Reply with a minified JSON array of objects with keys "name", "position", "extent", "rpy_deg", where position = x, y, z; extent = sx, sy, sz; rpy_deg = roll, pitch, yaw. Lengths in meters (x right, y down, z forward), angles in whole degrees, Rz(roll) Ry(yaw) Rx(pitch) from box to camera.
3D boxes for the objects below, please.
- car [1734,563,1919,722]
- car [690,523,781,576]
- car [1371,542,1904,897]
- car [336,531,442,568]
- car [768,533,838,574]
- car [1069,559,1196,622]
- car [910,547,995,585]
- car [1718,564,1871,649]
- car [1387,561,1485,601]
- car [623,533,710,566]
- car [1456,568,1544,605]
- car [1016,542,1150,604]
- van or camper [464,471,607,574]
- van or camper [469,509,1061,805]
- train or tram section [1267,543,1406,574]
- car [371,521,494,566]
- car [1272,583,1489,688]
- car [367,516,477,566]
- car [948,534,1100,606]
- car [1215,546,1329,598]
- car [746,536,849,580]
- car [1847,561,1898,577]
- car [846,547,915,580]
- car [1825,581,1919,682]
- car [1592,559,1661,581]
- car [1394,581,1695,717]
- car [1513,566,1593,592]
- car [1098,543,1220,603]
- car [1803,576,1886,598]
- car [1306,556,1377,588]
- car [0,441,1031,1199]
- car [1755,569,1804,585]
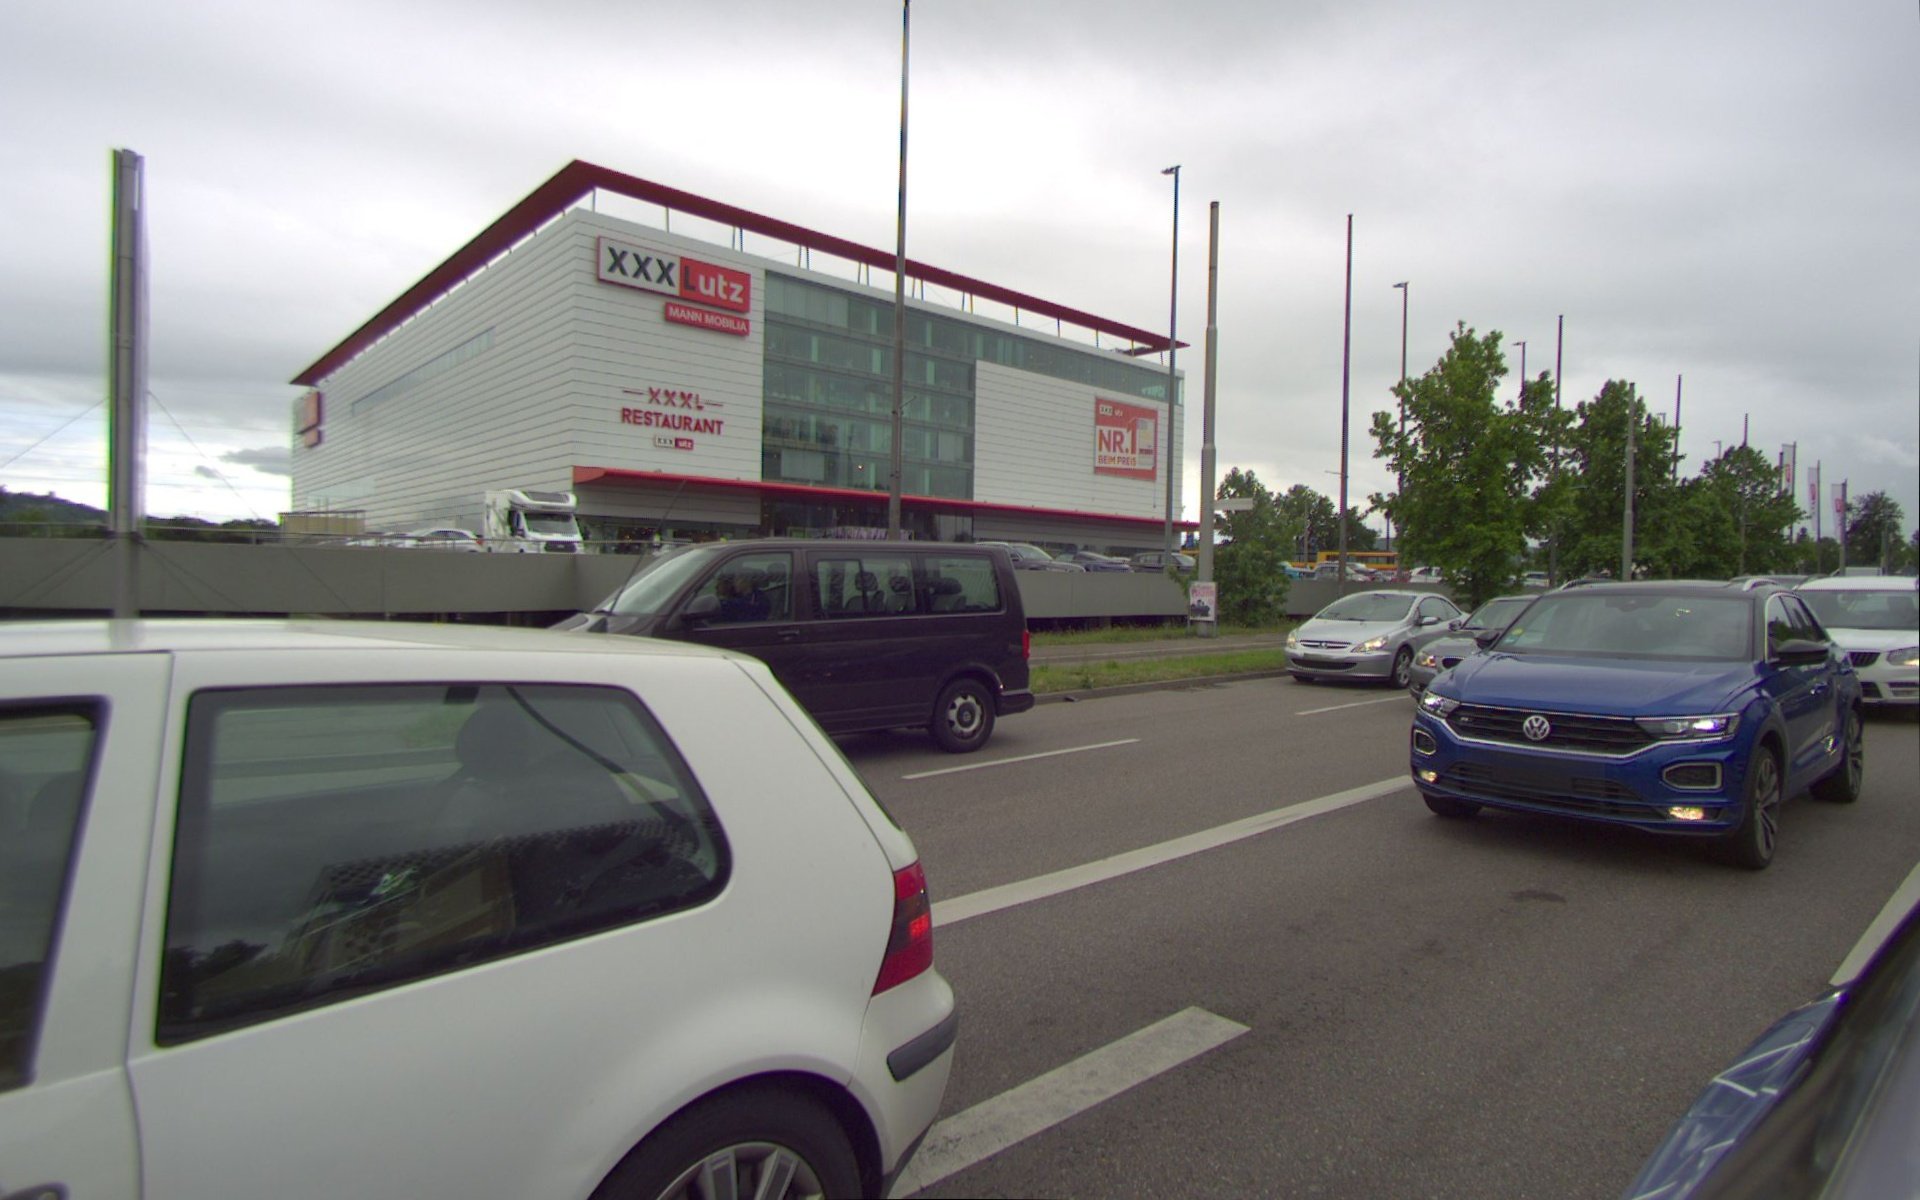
[{"name":"car","position":[11.194,0.390,12.422],"extent":[4.297,1.645,1.797],"rpy_deg":[-2,1,-40]},{"name":"car","position":[-9.068,-1.997,40.779],"extent":[1.839,1.972,3.859],"rpy_deg":[-2,1,-44]},{"name":"car","position":[4.706,0.501,6.767],"extent":[4.256,1.642,1.845],"rpy_deg":[-2,1,-40]},{"name":"car","position":[-27.489,-2.410,48.788],"extent":[4.186,1.697,1.774],"rpy_deg":[-2,1,-41]},{"name":"car","position":[-8.673,-2.522,55.745],"extent":[1.966,2.039,3.991],"rpy_deg":[-2,1,-42]},{"name":"car","position":[5.937,-0.326,35.209],"extent":[1.966,2.039,3.991],"rpy_deg":[-2,1,-42]},{"name":"car","position":[-0.387,-1.635,49.450],"extent":[1.967,1.760,3.991],"rpy_deg":[-2,1,-43]},{"name":"car","position":[18.099,0.085,21.888],"extent":[4.297,1.645,1.797],"rpy_deg":[-2,1,-40]},{"name":"car","position":[25.361,-0.995,53.981],"extent":[1.966,2.039,4.317],"rpy_deg":[-2,1,-42]},{"name":"car","position":[-16.033,-2.722,55.375],"extent":[4.186,1.697,1.774],"rpy_deg":[-2,1,-41]},{"name":"car","position":[30.775,-0.748,57.760],"extent":[1.965,2.039,3.993],"rpy_deg":[-2,1,-41]},{"name":"car","position":[3.957,-0.835,32.981],"extent":[1.967,1.872,3.991],"rpy_deg":[-2,1,-43]},{"name":"van or camper","position":[-15.414,-2.608,36.418],"extent":[2.667,3.175,7.225],"rpy_deg":[-1,1,-40]},{"name":"van or camper","position":[-1.629,0.333,9.264],"extent":[4.850,2.039,2.164],"rpy_deg":[-2,1,-35]},{"name":"train or tram section","position":[64.210,-6.985,173.748],"extent":[3.573,4.898,23.231],"rpy_deg":[-1,2,-43]},{"name":"car","position":[-21.632,-2.280,41.590],"extent":[4.186,1.697,1.774],"rpy_deg":[-2,1,-41]},{"name":"car","position":[6.684,0.468,15.898],"extent":[3.861,1.389,1.691],"rpy_deg":[-2,1,-43]},{"name":"car","position":[-23.664,-2.560,44.550],"extent":[3.929,2.039,1.998],"rpy_deg":[-2,1,-39]},{"name":"car","position":[1.875,-0.870,30.902],"extent":[1.967,2.039,4.521],"rpy_deg":[-2,1,-43]},{"name":"car","position":[12.745,-1.114,41.481],"extent":[1.966,2.039,3.991],"rpy_deg":[-2,1,-42]},{"name":"car","position":[-6.036,-1.515,37.420],"extent":[1.839,1.455,3.984],"rpy_deg":[-2,1,-43]},{"name":"car","position":[118.785,-4.028,131.850],"extent":[4.681,2.039,1.975],"rpy_deg":[-1,1,36]},{"name":"car","position":[-4.668,-2.117,59.287],"extent":[1.967,1.760,3.991],"rpy_deg":[-2,1,-43]},{"name":"car","position":[15.598,0.436,16.400],"extent":[4.146,1.433,1.800],"rpy_deg":[-2,1,-41]},{"name":"car","position":[50.220,-2.261,76.322],"extent":[1.765,1.585,3.994],"rpy_deg":[-2,1,-40]},{"name":"car","position":[7.598,0.535,12.943],"extent":[4.790,1.429,1.815],"rpy_deg":[1,0,-40]},{"name":"car","position":[37.752,-1.326,64.485],"extent":[1.765,1.585,3.994],"rpy_deg":[-2,1,-40]},{"name":"car","position":[7.253,-0.955,37.121],"extent":[1.966,2.039,3.991],"rpy_deg":[-2,1,-42]},{"name":"car","position":[61.719,-0.897,70.665],"extent":[1.772,1.433,4.212],"rpy_deg":[-2,1,-41]},{"name":"car","position":[25.427,-1.830,67.473],"extent":[1.966,2.039,3.991],"rpy_deg":[-2,1,-42]},{"name":"car","position":[-1.939,0.585,1.544],"extent":[3.935,1.496,1.836],"rpy_deg":[-2,1,-41]},{"name":"car","position":[113.829,-3.171,140.541],"extent":[1.966,2.039,5.081],"rpy_deg":[-2,1,-42]}]
